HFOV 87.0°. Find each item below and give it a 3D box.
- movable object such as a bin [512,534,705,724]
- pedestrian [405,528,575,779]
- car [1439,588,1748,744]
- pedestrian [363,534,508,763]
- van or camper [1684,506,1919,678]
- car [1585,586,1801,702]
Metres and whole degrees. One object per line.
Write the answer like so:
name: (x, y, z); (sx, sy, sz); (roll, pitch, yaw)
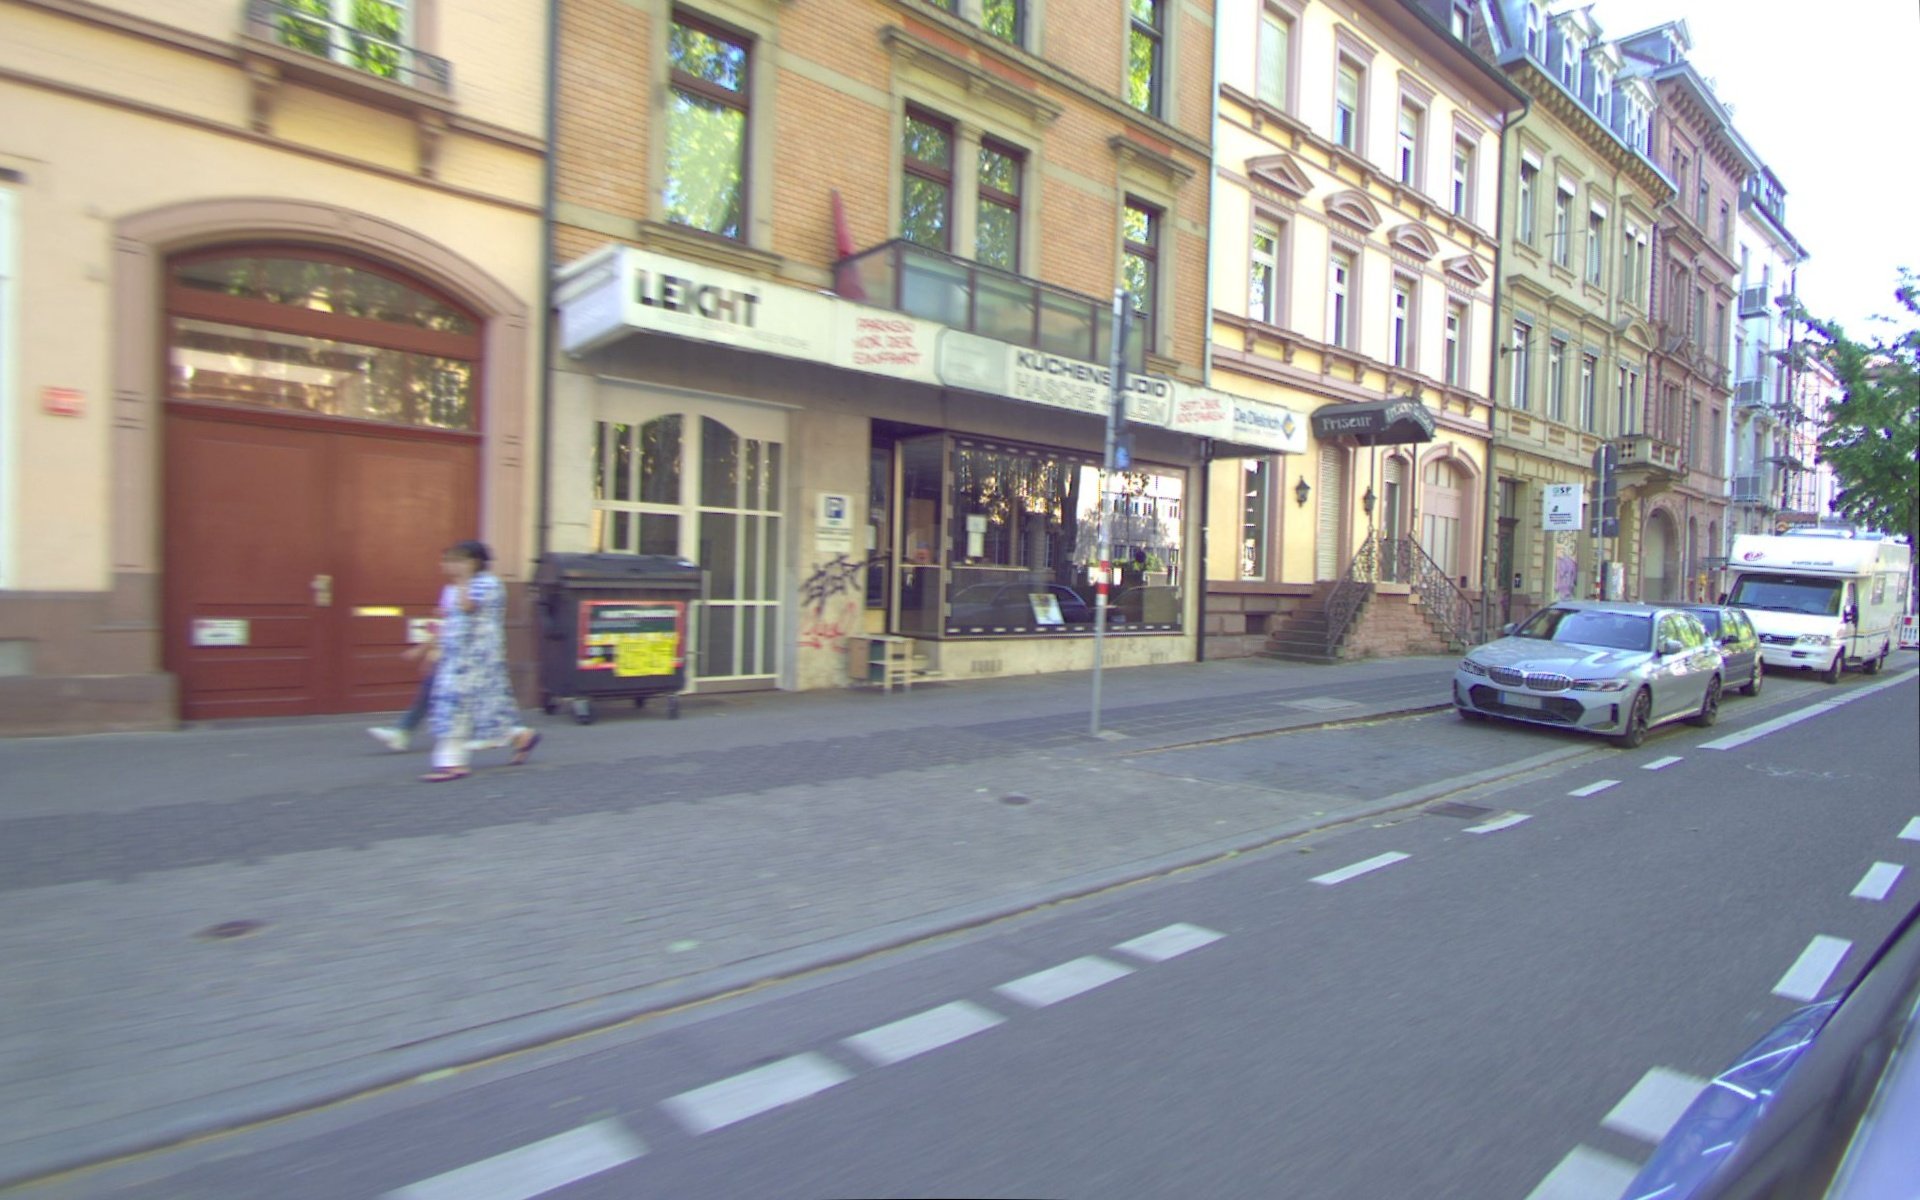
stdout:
movable object such as a bin: (-3.177, 0.215, 9.113); (1.263, 1.539, 1.296); (0, 1, -40)
pedestrian: (-3.099, 0.309, 6.672); (0.851, 1.523, 0.661); (0, 2, -41)
car: (7.691, 0.626, 12.103); (4.583, 1.452, 1.814); (0, 3, -41)
pedestrian: (-3.701, 0.309, 7.143); (0.772, 1.501, 0.659); (0, 1, -41)
van or camper: (18.136, -0.243, 21.363); (7.742, 3.007, 2.485); (0, 5, -39)
car: (11.417, 0.587, 15.680); (3.956, 1.451, 1.650); (0, 5, -39)
